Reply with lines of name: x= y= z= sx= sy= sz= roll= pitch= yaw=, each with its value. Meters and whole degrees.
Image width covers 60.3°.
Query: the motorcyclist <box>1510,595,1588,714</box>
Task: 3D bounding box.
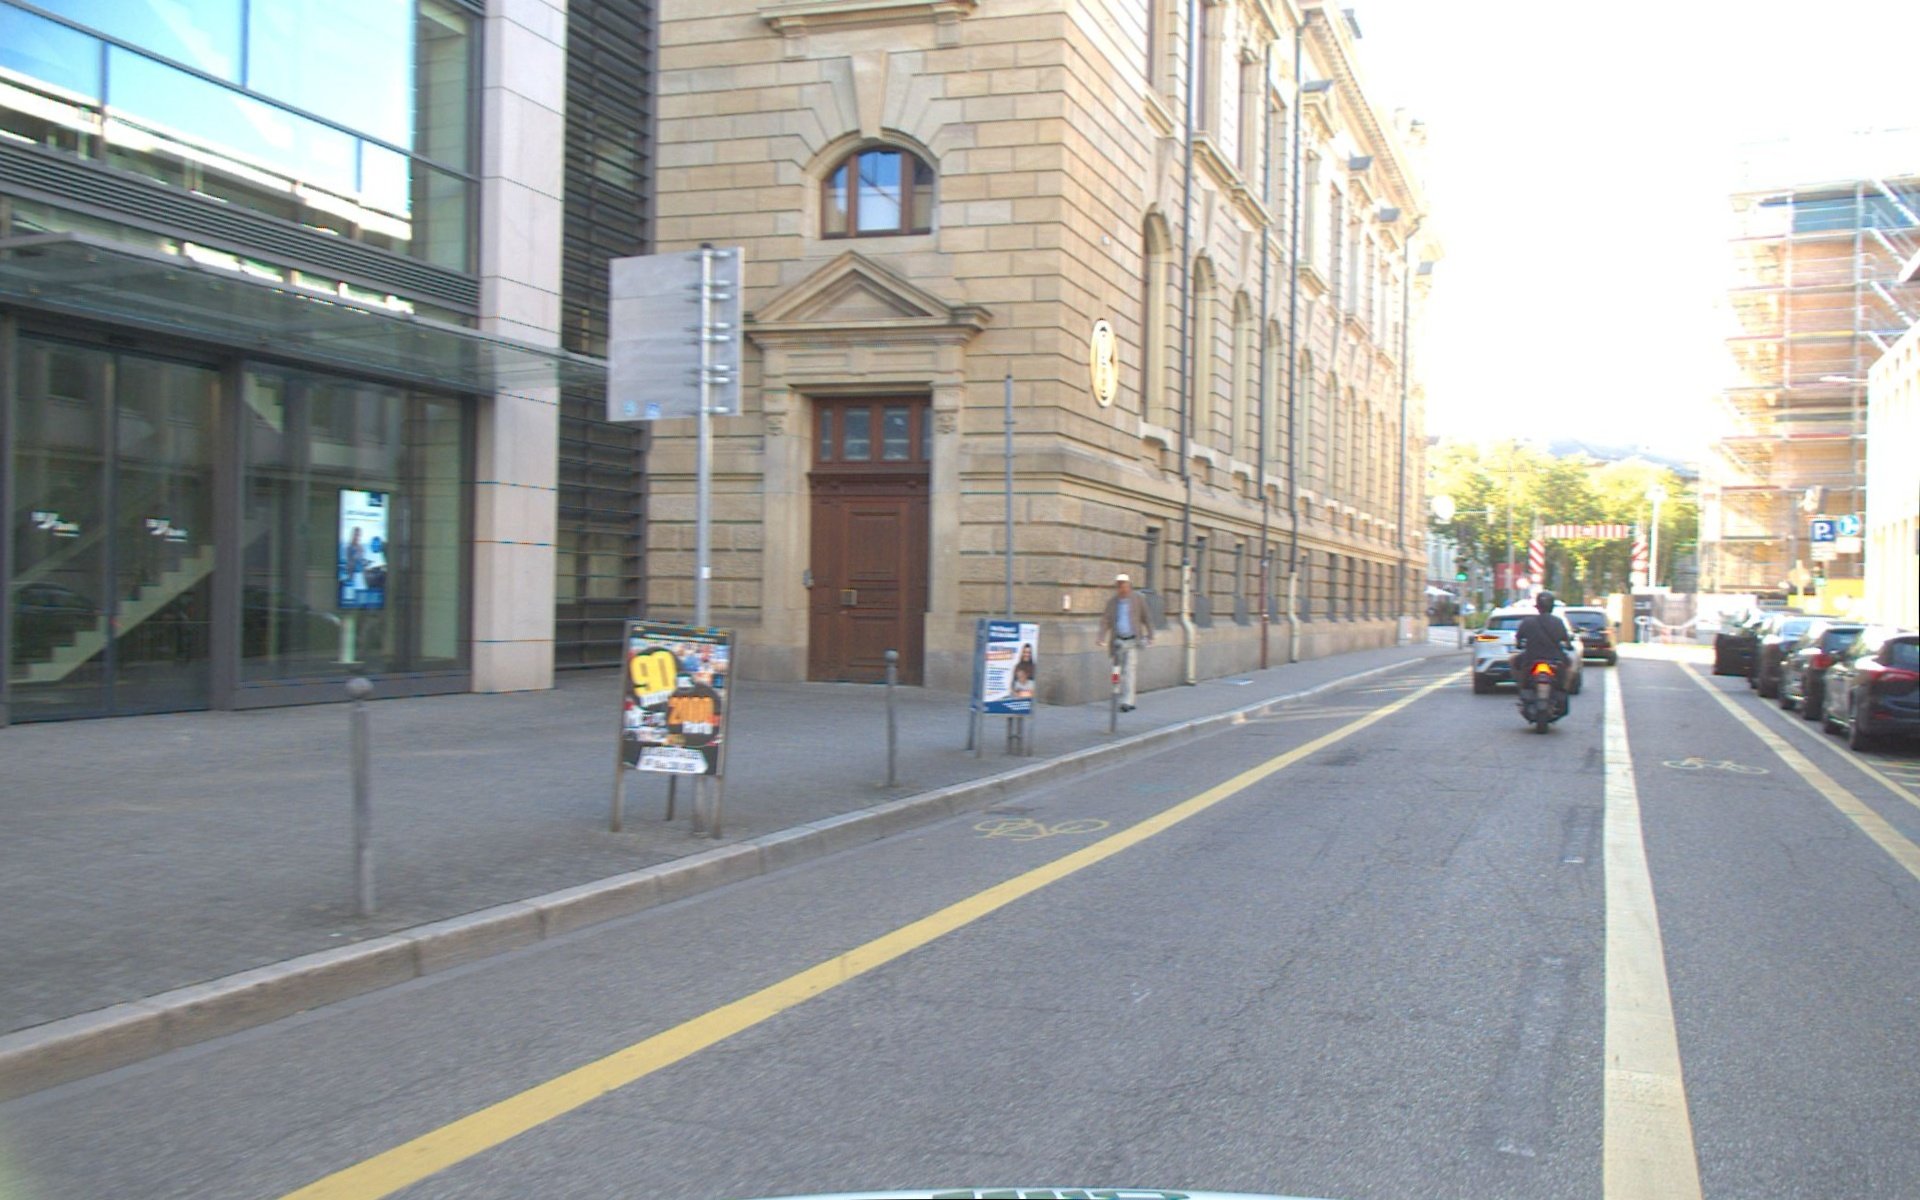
motorcyclist: x=7.321 y=0.664 z=20.560 sx=0.850 sy=1.452 sz=0.455 roll=0 pitch=-1 yaw=29

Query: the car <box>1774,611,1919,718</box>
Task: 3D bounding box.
car: x=13.792 y=0.959 z=25.549 sx=1.744 sy=1.505 sz=4.289 roll=0 pitch=-1 yaw=20

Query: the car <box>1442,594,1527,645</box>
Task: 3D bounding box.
car: x=19.560 y=0.687 z=61.847 sx=1.952 sy=1.693 sz=4.360 roll=-2 pitch=1 yaw=3

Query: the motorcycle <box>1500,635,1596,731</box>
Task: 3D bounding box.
motorcycle: x=7.372 y=1.014 z=20.687 sx=0.856 sy=1.129 sz=1.836 roll=0 pitch=-1 yaw=29

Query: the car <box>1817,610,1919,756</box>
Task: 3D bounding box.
car: x=11.657 y=0.947 z=19.994 sx=1.746 sy=1.505 sz=4.289 roll=2 pitch=1 yaw=20

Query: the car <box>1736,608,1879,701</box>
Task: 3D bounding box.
car: x=15.855 y=0.954 z=31.155 sx=1.787 sy=1.527 sz=4.737 roll=2 pitch=1 yaw=20

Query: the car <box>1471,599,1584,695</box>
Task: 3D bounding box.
car: x=10.360 y=0.816 z=30.246 sx=1.784 sy=1.568 sz=4.265 roll=2 pitch=0 yaw=19

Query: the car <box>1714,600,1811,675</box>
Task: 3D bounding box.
car: x=20.847 y=0.926 z=43.101 sx=1.787 sy=1.728 sz=4.667 roll=2 pitch=1 yaw=21

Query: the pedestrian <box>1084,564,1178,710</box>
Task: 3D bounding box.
pedestrian: x=2.286 y=0.482 z=21.995 sx=0.825 sy=1.831 sz=1.073 roll=4 pitch=0 yaw=24
